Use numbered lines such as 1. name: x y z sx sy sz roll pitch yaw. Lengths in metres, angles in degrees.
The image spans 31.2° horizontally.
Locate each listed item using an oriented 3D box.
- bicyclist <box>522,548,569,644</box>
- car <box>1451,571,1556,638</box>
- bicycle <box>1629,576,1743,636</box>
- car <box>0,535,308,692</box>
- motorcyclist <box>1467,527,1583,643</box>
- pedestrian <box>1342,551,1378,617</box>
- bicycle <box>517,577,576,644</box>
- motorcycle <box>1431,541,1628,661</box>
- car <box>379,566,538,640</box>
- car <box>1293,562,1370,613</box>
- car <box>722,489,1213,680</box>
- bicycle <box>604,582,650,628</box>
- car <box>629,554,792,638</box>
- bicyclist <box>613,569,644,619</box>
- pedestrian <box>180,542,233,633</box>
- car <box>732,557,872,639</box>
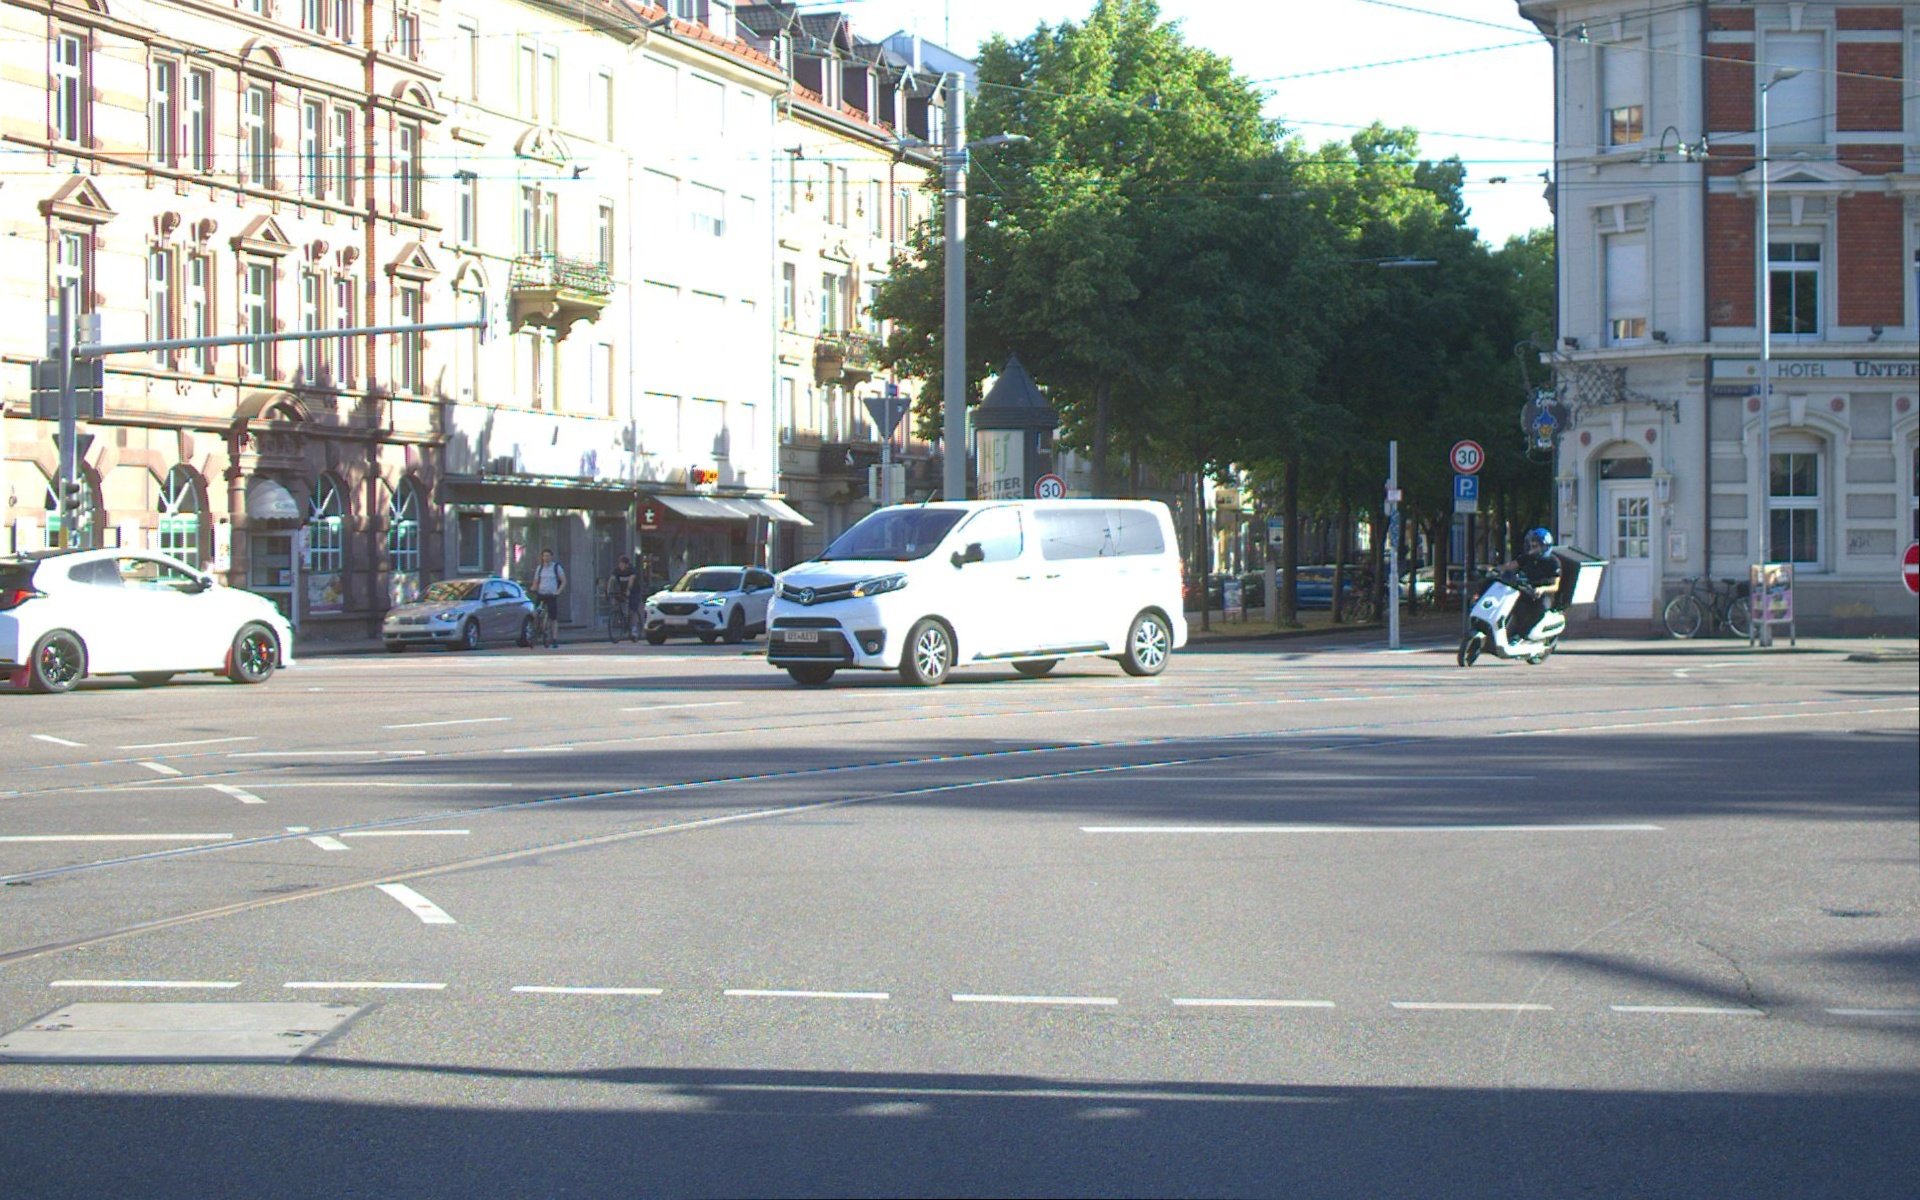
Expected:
1. bicyclist: -7.851 -0.083 65.119 0.565 1.797 0.913 1 0 15
2. car: 13.083 0.097 82.602 1.758 1.550 3.996 1 1 20
3. bicycle: 12.065 0.101 57.132 1.804 0.959 0.603 1 0 14
4. car: -8.838 0.092 35.205 1.896 1.449 4.000 0 2 37
5. motorcyclist: 6.419 -0.171 39.078 1.014 1.296 0.789 1 0 -27
6. pedestrian: 12.259 -0.498 105.328 0.943 2.007 0.826 1 0 -2
7. bicycle: -7.830 0.190 65.182 0.565 1.250 1.556 1 1 14
8. motorcycle: 6.483 0.013 39.113 2.135 1.329 0.797 1 0 -27
9. car: -9.758 0.041 67.176 1.661 1.369 3.889 1 1 15
10. car: 12.621 -0.426 116.623 1.995 1.678 3.997 1 1 15
11. car: 0.159 -0.175 35.811 5.202 1.848 1.999 0 1 -45
12. bicycle: -6.864 0.096 70.974 0.473 0.919 1.451 1 1 14
13. car: -4.841 -0.092 67.291 1.804 1.579 4.156 1 1 17
14. bicyclist: -6.843 -0.122 71.058 0.473 1.036 0.537 1 0 15
15. pedestrian: -13.664 -0.228 62.341 0.568 1.636 0.792 1 0 23
16. car: -3.351 -0.062 73.655 1.826 1.679 3.872 1 1 16
